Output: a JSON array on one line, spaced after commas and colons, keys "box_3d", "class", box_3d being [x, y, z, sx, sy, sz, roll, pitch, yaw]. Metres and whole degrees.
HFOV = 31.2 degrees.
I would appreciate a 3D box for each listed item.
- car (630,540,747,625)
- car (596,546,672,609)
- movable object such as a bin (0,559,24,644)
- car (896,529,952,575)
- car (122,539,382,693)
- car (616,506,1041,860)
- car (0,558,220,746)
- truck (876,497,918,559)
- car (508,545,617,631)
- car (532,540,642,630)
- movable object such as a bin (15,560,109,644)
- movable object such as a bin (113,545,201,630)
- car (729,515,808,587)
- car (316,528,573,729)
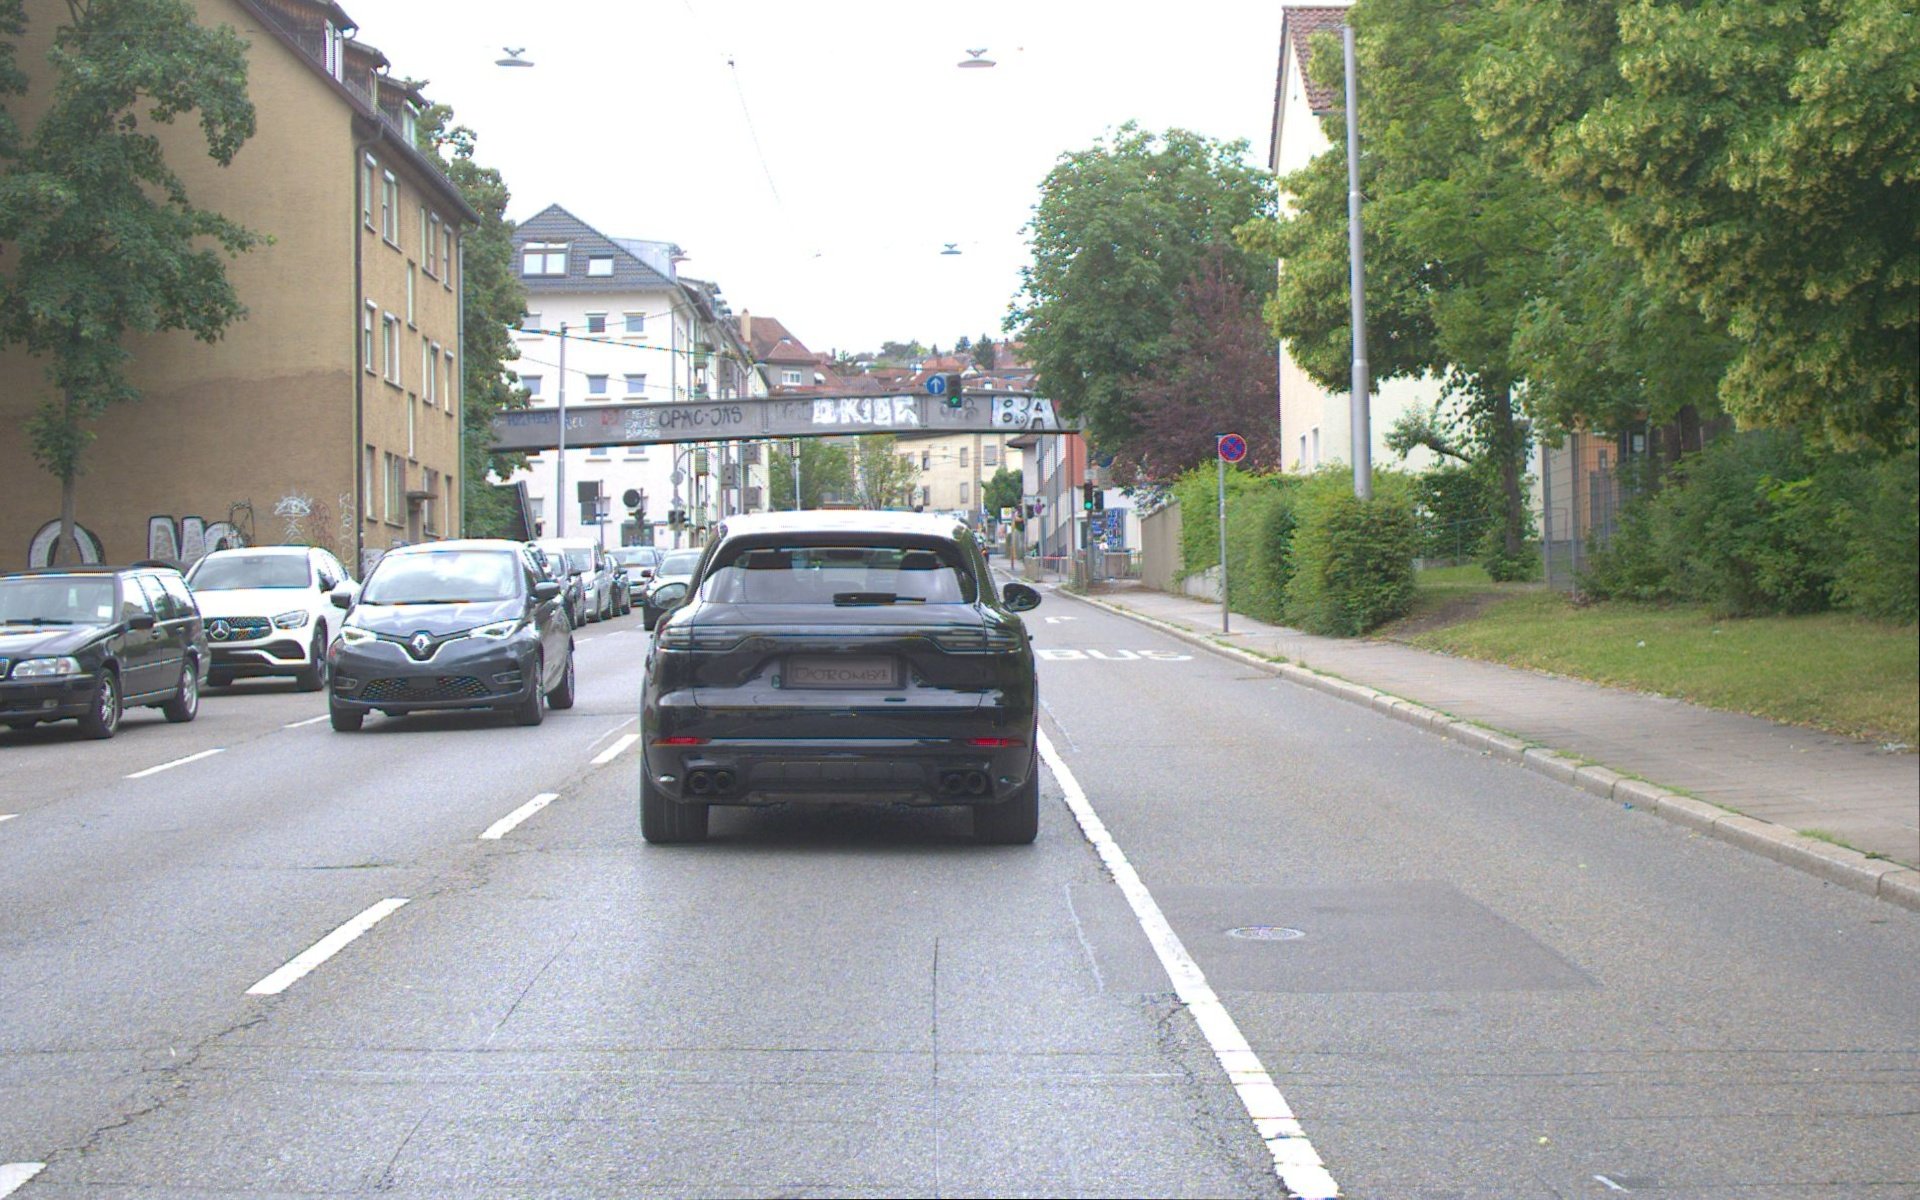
[{"box_3d": [-4.991, -0.353, 63.646, 1.778, 1.461, 4.499, -2, 1, 0], "class": "car"}, {"box_3d": [-8.601, -0.601, 91.051, 1.745, 1.563, 3.909, -2, 1, -2], "class": "car"}, {"box_3d": [-16.727, 0.024, 58.494, 1.392, 1.423, 0.913, 0, 1, -3], "class": "movable object such as a bin"}, {"box_3d": [-1.140, -1.559, 110.204, 1.741, 1.395, 4.000, 0, 2, 0], "class": "car"}, {"box_3d": [-7.890, 0.129, 38.747, 1.915, 1.572, 4.700, -1, 1, 0], "class": "car"}, {"box_3d": [-0.628, 0.336, 18.194, 1.993, 1.656, 4.000, 0, 2, 0], "class": "car"}, {"box_3d": [-7.889, 0.406, 29.716, 1.798, 1.426, 4.743, -2, 1, 2], "class": "car"}, {"box_3d": [-3.580, -4.076, 195.762, 2.266, 3.412, 9.879, -1, 1, -1], "class": "truck"}, {"box_3d": [-7.595, -0.255, 66.000, 1.751, 1.525, 4.100, -2, 1, -2], "class": "car"}, {"box_3d": [-7.702, -0.351, 71.350, 1.776, 1.748, 4.558, -2, 1, -1], "class": "car"}, {"box_3d": [-15.288, 0.029, 58.550, 1.392, 1.423, 0.913, 0, 1, -3], "class": "movable object such as a bin"}, {"box_3d": [-13.607, -0.221, 58.307, 1.281, 1.423, 1.279, 0, 1, -5], "class": "movable object such as a bin"}, {"box_3d": [-5.184, -1.350, 93.529, 1.931, 1.894, 4.590, -1, 1, -1], "class": "car"}, {"box_3d": [-4.335, 0.190, 29.391, 1.683, 1.550, 3.719, -2, 1, -2], "class": "car"}]
